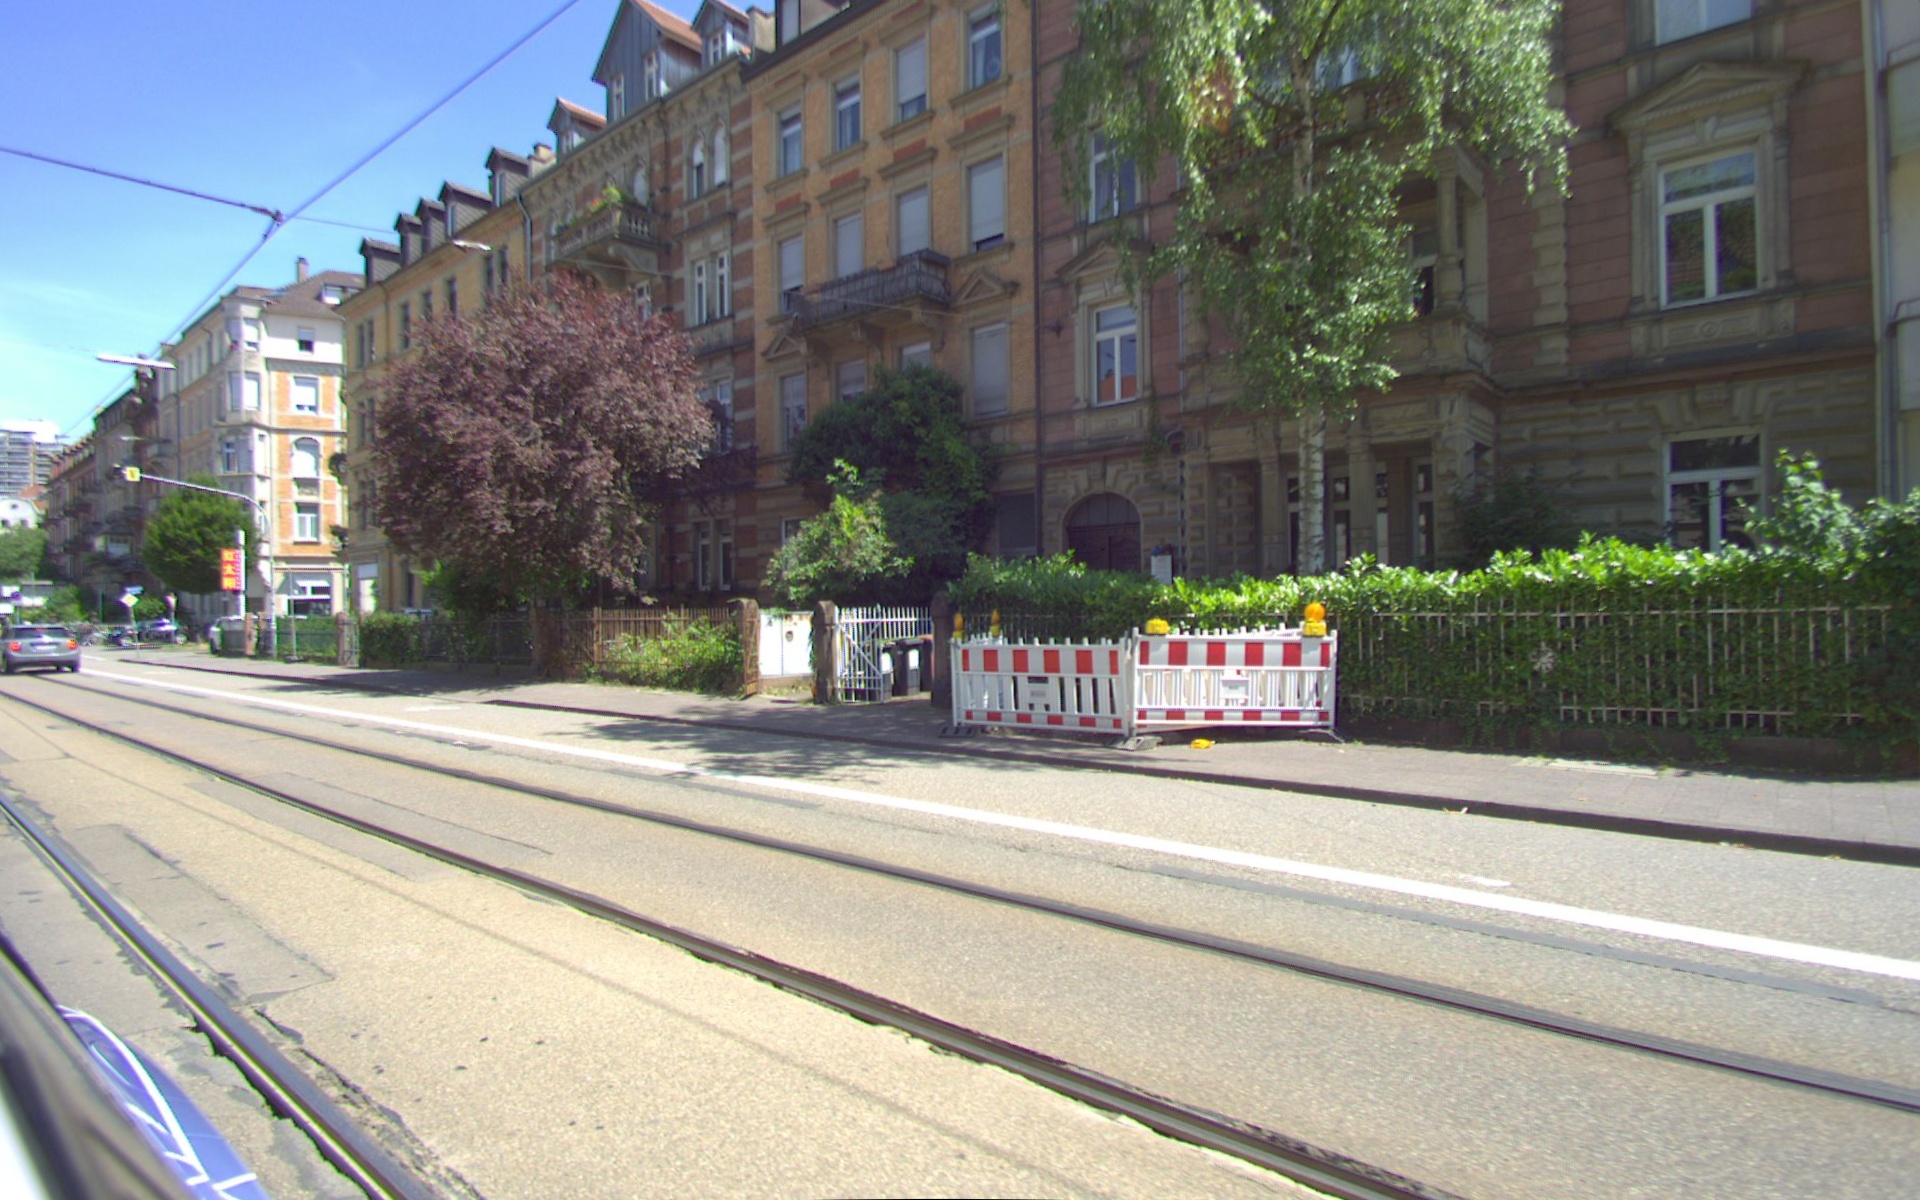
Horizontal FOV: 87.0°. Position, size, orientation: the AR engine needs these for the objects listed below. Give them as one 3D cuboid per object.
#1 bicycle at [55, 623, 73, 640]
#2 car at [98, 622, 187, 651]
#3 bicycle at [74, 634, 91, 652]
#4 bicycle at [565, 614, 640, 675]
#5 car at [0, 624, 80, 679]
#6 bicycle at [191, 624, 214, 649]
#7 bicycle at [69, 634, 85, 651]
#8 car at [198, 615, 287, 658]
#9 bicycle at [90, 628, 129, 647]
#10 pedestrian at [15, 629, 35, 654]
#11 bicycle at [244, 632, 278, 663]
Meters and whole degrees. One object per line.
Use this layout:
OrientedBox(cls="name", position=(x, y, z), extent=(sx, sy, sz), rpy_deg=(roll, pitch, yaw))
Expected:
OrientedBox(cls="bicycle", position=(-56.028, 1.974, 63.270), extent=(1.709, 0.994, 0.492), rpy_deg=(-2, 3, 40))
OrientedBox(cls="car", position=(-46.720, 2.050, 57.874), extent=(1.713, 1.439, 3.720), rpy_deg=(0, 1, 41))
OrientedBox(cls="bicycle", position=(-50.689, 2.476, 58.443), extent=(1.709, 0.991, 0.434), rpy_deg=(-2, 0, 40))
OrientedBox(cls="bicycle", position=(-7.922, 0.976, 22.491), extent=(0.507, 1.196, 1.599), rpy_deg=(-2, 2, 28))
OrientedBox(cls="car", position=(-27.584, 1.478, 30.059), extent=(3.746, 1.465, 1.669), rpy_deg=(-1, 0, 41))
OrientedBox(cls="bicycle", position=(-40.731, 1.952, 54.408), extent=(0.493, 1.237, 1.856), rpy_deg=(0, 1, -21))
OrientedBox(cls="bicycle", position=(-52.211, 2.509, 59.802), extent=(1.709, 0.991, 0.434), rpy_deg=(-2, 0, 40))
OrientedBox(cls="car", position=(-30.118, 1.506, 42.460), extent=(4.094, 1.612, 1.849), rpy_deg=(-1, 1, 36))
OrientedBox(cls="bicycle", position=(-48.985, 2.141, 58.316), extent=(1.685, 1.044, 0.551), rpy_deg=(-1, 0, -45))
OrientedBox(cls="pedestrian", position=(-66.658, 2.943, 72.169), extent=(1.138, 1.735, 0.842), rpy_deg=(-2, 2, 42))
OrientedBox(cls="bicycle", position=(-24.368, 1.642, 35.257), extent=(1.804, 1.011, 0.449), rpy_deg=(-1, 0, 38))
